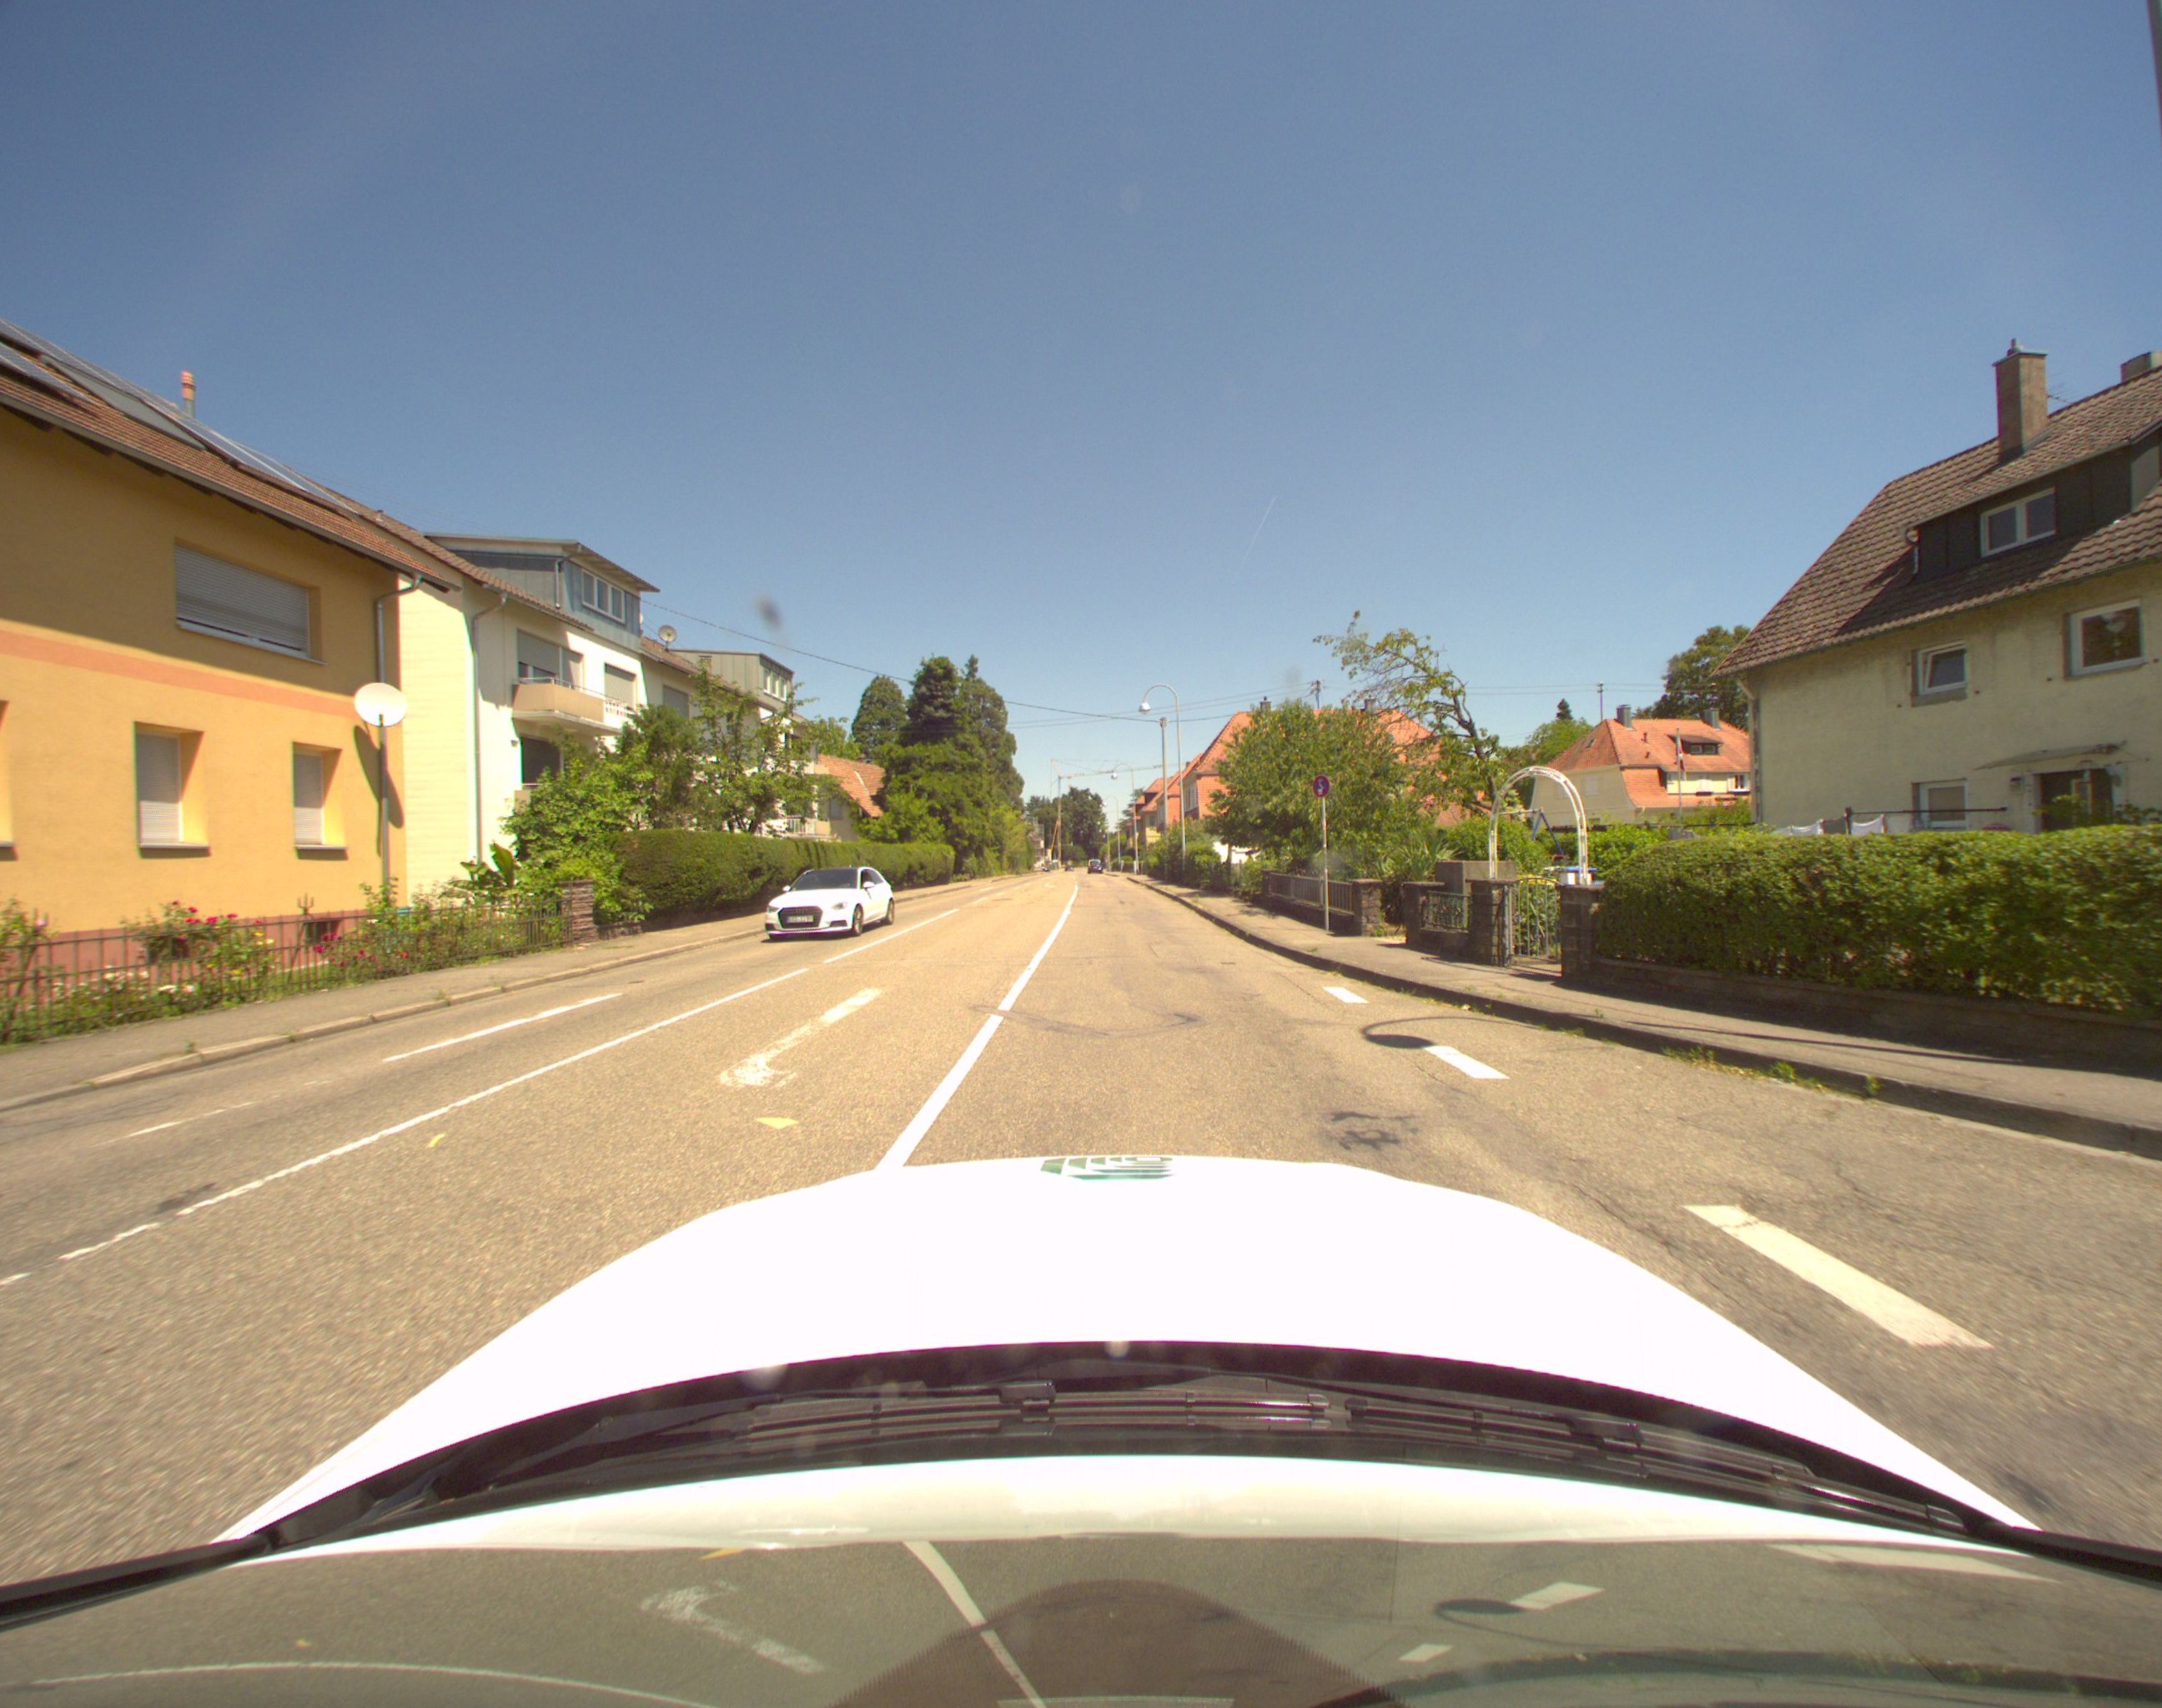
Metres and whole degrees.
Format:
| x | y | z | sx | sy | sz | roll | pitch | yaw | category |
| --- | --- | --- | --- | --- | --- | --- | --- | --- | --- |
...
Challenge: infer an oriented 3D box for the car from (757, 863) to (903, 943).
| x | y | z | sx | sy | sz | roll | pitch | yaw | category |
| --- | --- | --- | --- | --- | --- | --- | --- | --- | --- |
| -5.225 | 0.950 | 17.566 | 1.674 | 1.372 | 4.208 | -3 | 0 | 2 | car |

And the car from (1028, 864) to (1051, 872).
| x | y | z | sx | sy | sz | roll | pitch | yaw | category |
| --- | --- | --- | --- | --- | --- | --- | --- | --- | --- |
| -8.344 | 2.851 | 163.597 | 3.957 | 1.468 | 1.973 | -3 | 0 | 15 | car |

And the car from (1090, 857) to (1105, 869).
| x | y | z | sx | sy | sz | roll | pitch | yaw | category |
| --- | --- | --- | --- | --- | --- | --- | --- | --- | --- |
| 1.974 | 1.103 | 97.913 | 1.687 | 1.419 | 4.549 | -1 | -1 | -1 | car |

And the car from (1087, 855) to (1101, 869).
| x | y | z | sx | sy | sz | roll | pitch | yaw | category |
| --- | --- | --- | --- | --- | --- | --- | --- | --- | --- |
| 1.844 | 1.143 | 117.665 | 1.987 | 1.901 | 4.821 | 1 | -1 | 0 | car |

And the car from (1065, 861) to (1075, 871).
| x | y | z | sx | sy | sz | roll | pitch | yaw | category |
| --- | --- | --- | --- | --- | --- | --- | --- | --- | --- |
| -2.276 | 2.514 | 174.877 | 1.986 | 1.850 | 4.712 | -1 | 2 | 1 | car |
